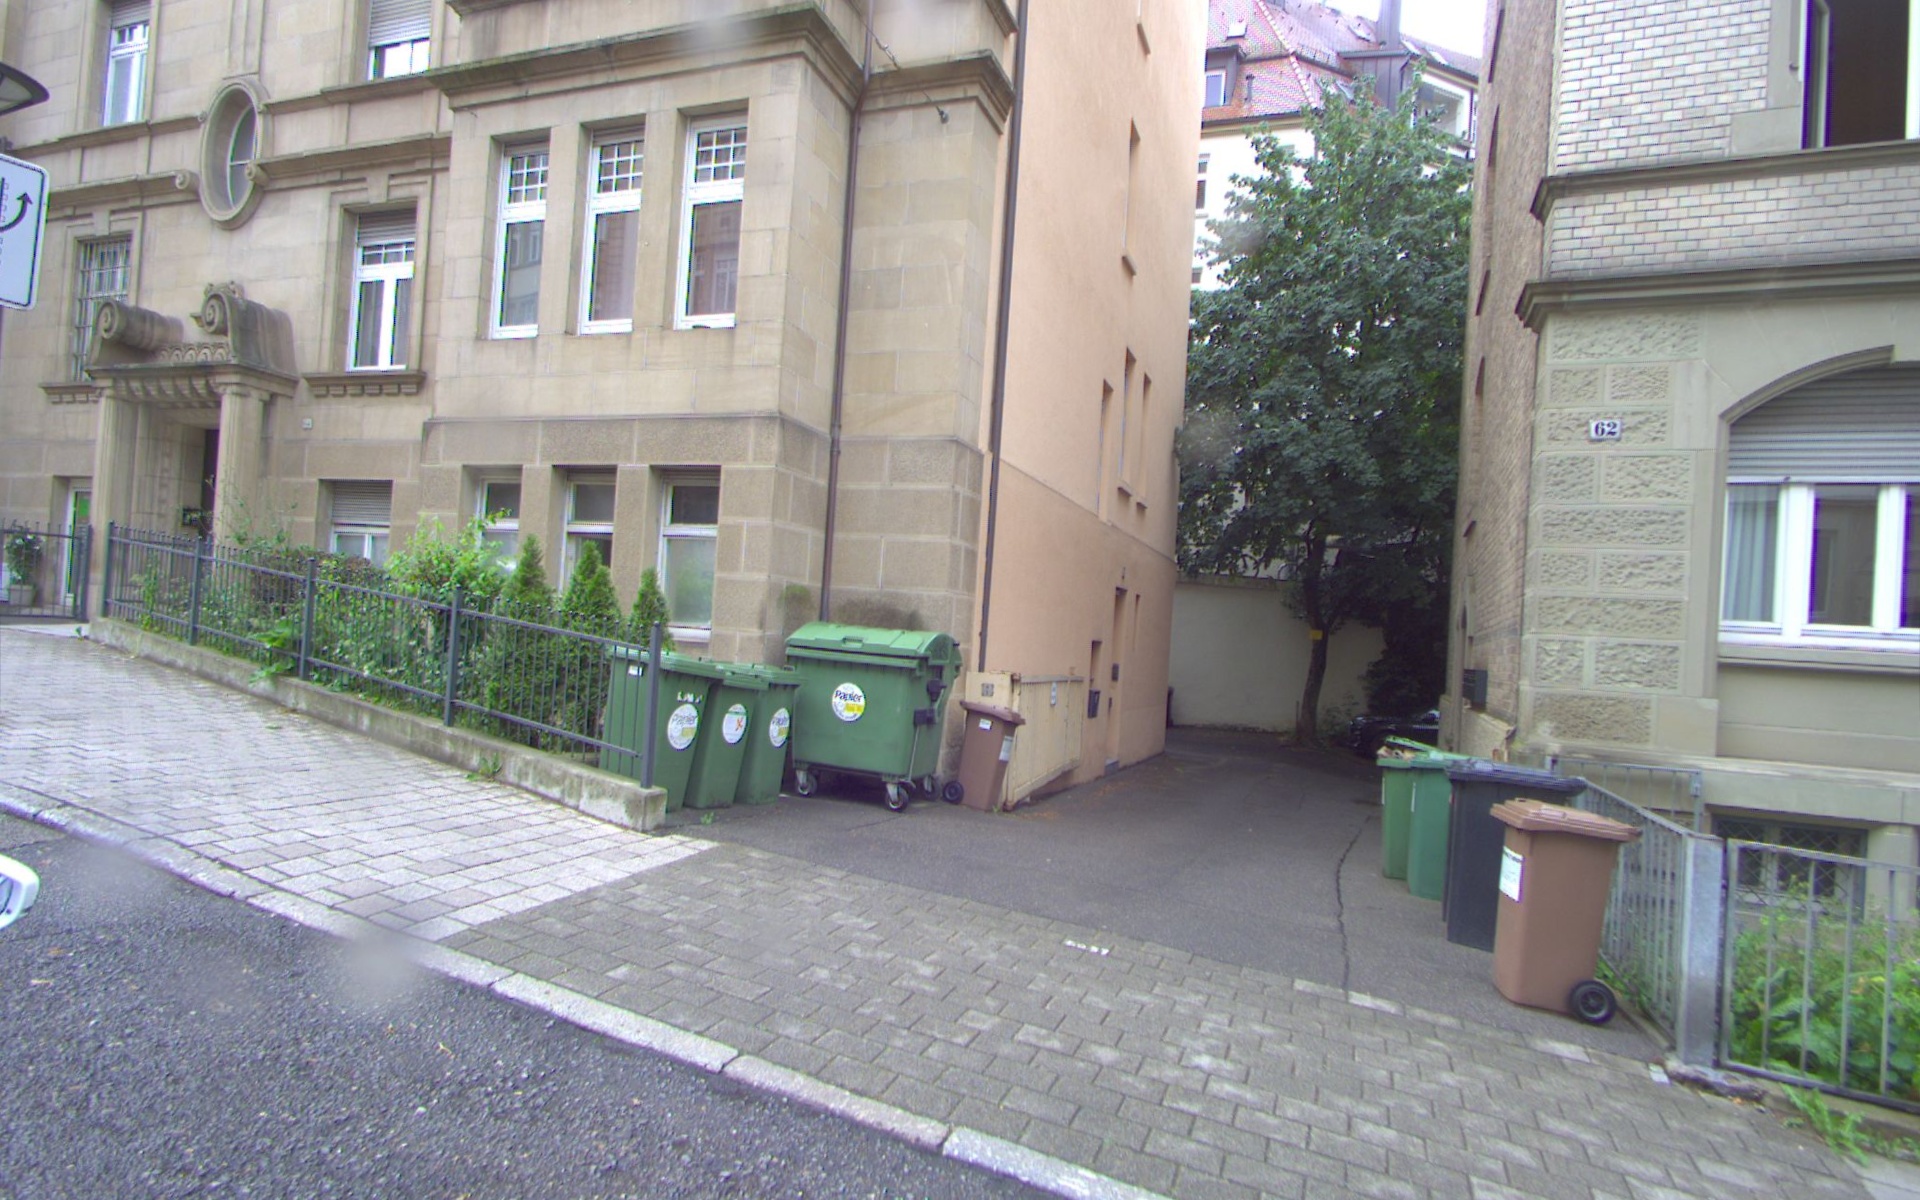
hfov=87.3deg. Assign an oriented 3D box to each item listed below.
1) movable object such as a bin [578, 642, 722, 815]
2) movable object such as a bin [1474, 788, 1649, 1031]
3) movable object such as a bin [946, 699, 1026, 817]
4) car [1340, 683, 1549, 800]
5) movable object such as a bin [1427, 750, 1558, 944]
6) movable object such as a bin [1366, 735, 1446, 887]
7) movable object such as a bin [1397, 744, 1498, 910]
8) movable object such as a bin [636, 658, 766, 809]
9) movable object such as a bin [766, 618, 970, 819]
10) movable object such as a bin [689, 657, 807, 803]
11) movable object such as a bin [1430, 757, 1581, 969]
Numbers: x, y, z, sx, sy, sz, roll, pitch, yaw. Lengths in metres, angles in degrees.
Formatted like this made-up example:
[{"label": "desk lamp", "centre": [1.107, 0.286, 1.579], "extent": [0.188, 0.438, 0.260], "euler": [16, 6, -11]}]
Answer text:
[{"label": "movable object such as a bin", "centre": [-2.072, 0.852, 6.758], "extent": [0.593, 1.036, 0.540], "euler": [6, -4, 20]}, {"label": "movable object such as a bin", "centre": [2.809, 1.426, 4.743], "extent": [0.527, 0.932, 0.427], "euler": [7, 2, 20]}, {"label": "movable object such as a bin", "centre": [0.238, 1.399, 8.975], "extent": [0.510, 0.952, 0.395], "euler": [6, -4, 20]}, {"label": "car", "centre": [10.989, 3.140, 22.975], "extent": [3.930, 1.530, 1.796], "euler": [13, 5, 28]}, {"label": "movable object such as a bin", "centre": [3.383, 1.544, 6.430], "extent": [0.598, 1.072, 0.501], "euler": [6, -3, 24]}, {"label": "movable object such as a bin", "centre": [3.595, 1.678, 8.136], "extent": [0.469, 1.113, 0.521], "euler": [6, -3, 23]}, {"label": "movable object such as a bin", "centre": [3.570, 1.640, 7.402], "extent": [0.545, 1.072, 0.498], "euler": [6, -3, 24]}, {"label": "movable object such as a bin", "centre": [-1.866, 0.959, 7.300], "extent": [0.593, 0.978, 0.540], "euler": [6, -4, 20]}, {"label": "movable object such as a bin", "centre": [-0.749, 0.980, 8.480], "extent": [1.256, 1.446, 0.976], "euler": [6, -4, 20]}, {"label": "movable object such as a bin", "centre": [-1.656, 1.014, 7.909], "extent": [0.593, 1.036, 0.540], "euler": [6, -4, 20]}, {"label": "movable object such as a bin", "centre": [3.159, 1.485, 5.845], "extent": [0.653, 1.041, 0.529], "euler": [6, -4, 30]}]
